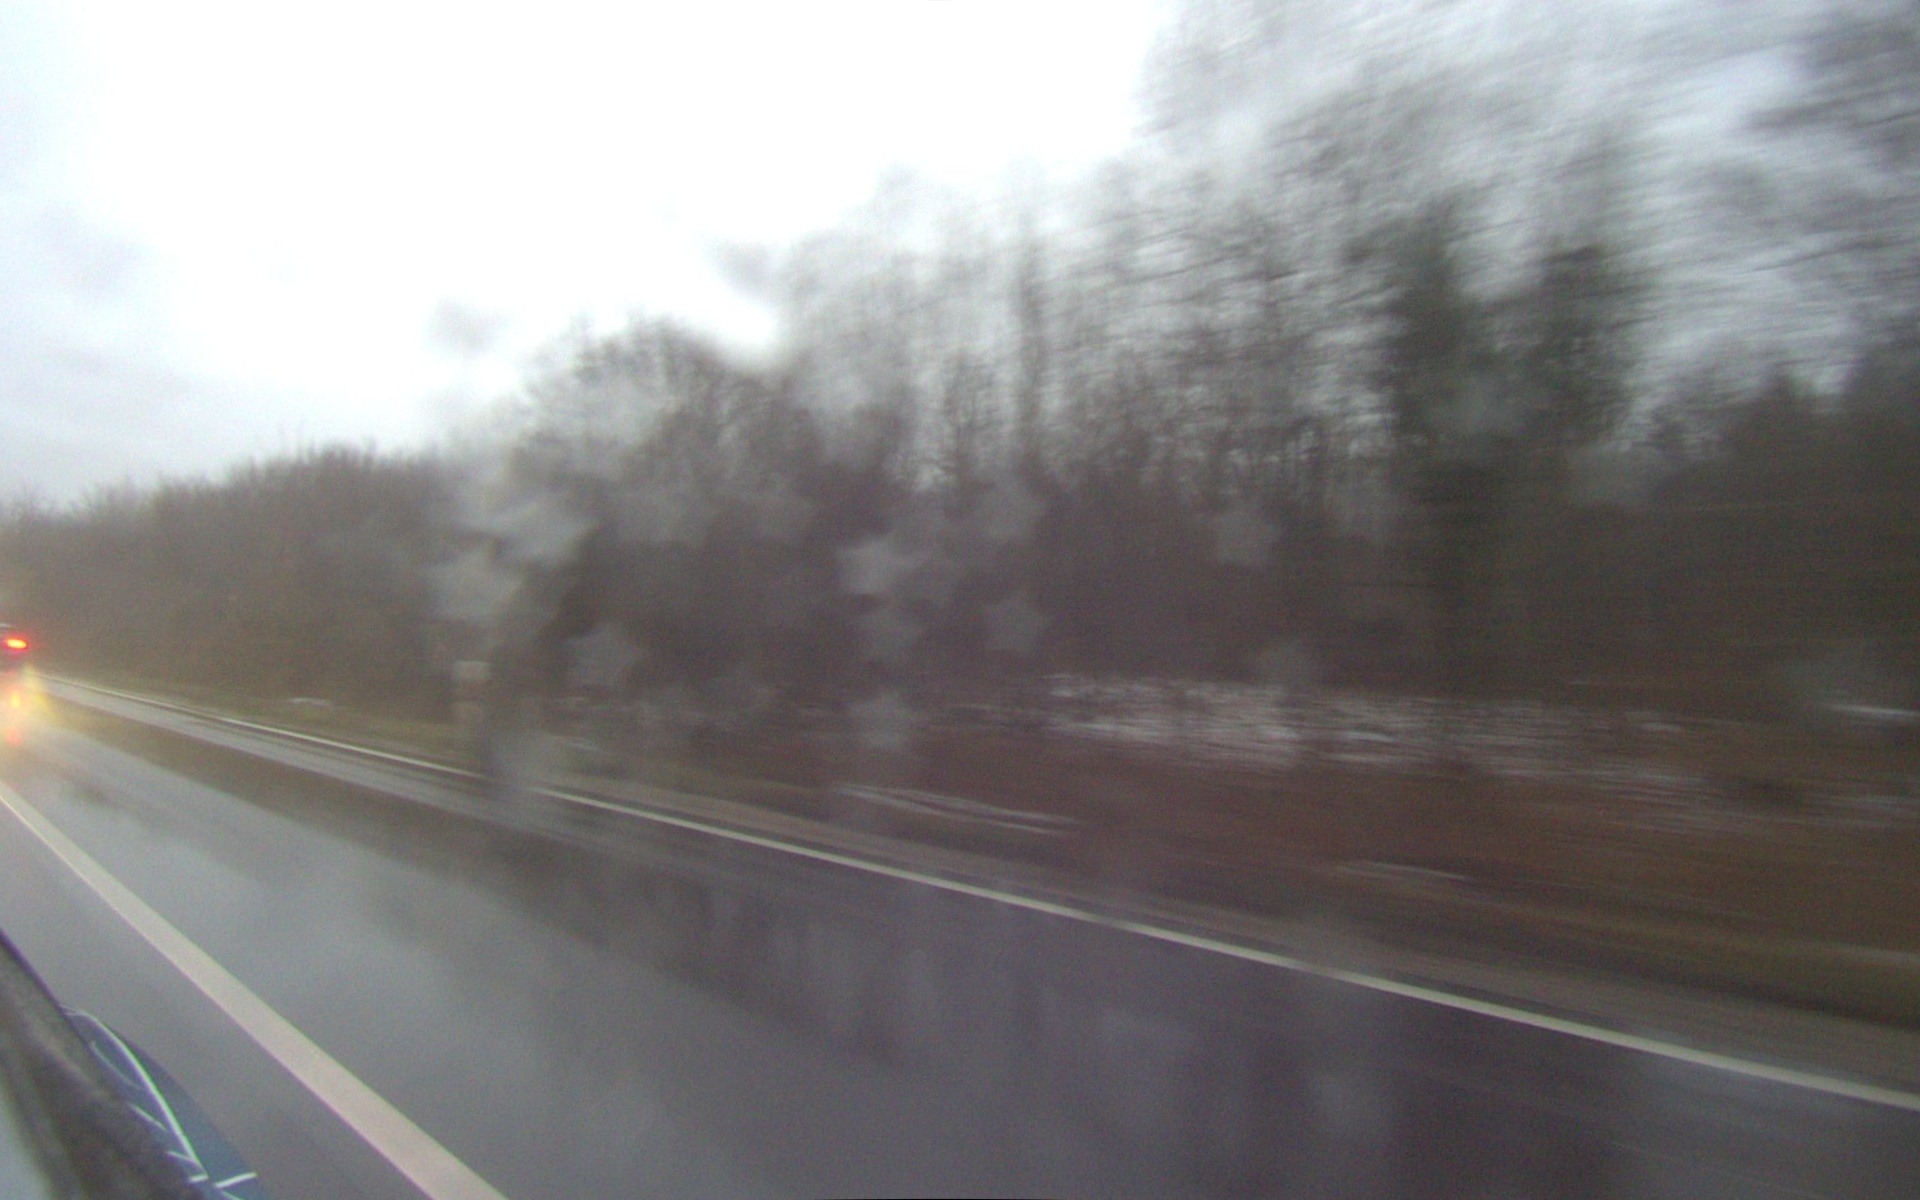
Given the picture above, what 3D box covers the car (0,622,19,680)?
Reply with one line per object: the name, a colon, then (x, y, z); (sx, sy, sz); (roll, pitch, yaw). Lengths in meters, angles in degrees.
car: (-27.105, 1.363, 27.697); (3.893, 1.507, 1.581); (-1, -3, 42)
